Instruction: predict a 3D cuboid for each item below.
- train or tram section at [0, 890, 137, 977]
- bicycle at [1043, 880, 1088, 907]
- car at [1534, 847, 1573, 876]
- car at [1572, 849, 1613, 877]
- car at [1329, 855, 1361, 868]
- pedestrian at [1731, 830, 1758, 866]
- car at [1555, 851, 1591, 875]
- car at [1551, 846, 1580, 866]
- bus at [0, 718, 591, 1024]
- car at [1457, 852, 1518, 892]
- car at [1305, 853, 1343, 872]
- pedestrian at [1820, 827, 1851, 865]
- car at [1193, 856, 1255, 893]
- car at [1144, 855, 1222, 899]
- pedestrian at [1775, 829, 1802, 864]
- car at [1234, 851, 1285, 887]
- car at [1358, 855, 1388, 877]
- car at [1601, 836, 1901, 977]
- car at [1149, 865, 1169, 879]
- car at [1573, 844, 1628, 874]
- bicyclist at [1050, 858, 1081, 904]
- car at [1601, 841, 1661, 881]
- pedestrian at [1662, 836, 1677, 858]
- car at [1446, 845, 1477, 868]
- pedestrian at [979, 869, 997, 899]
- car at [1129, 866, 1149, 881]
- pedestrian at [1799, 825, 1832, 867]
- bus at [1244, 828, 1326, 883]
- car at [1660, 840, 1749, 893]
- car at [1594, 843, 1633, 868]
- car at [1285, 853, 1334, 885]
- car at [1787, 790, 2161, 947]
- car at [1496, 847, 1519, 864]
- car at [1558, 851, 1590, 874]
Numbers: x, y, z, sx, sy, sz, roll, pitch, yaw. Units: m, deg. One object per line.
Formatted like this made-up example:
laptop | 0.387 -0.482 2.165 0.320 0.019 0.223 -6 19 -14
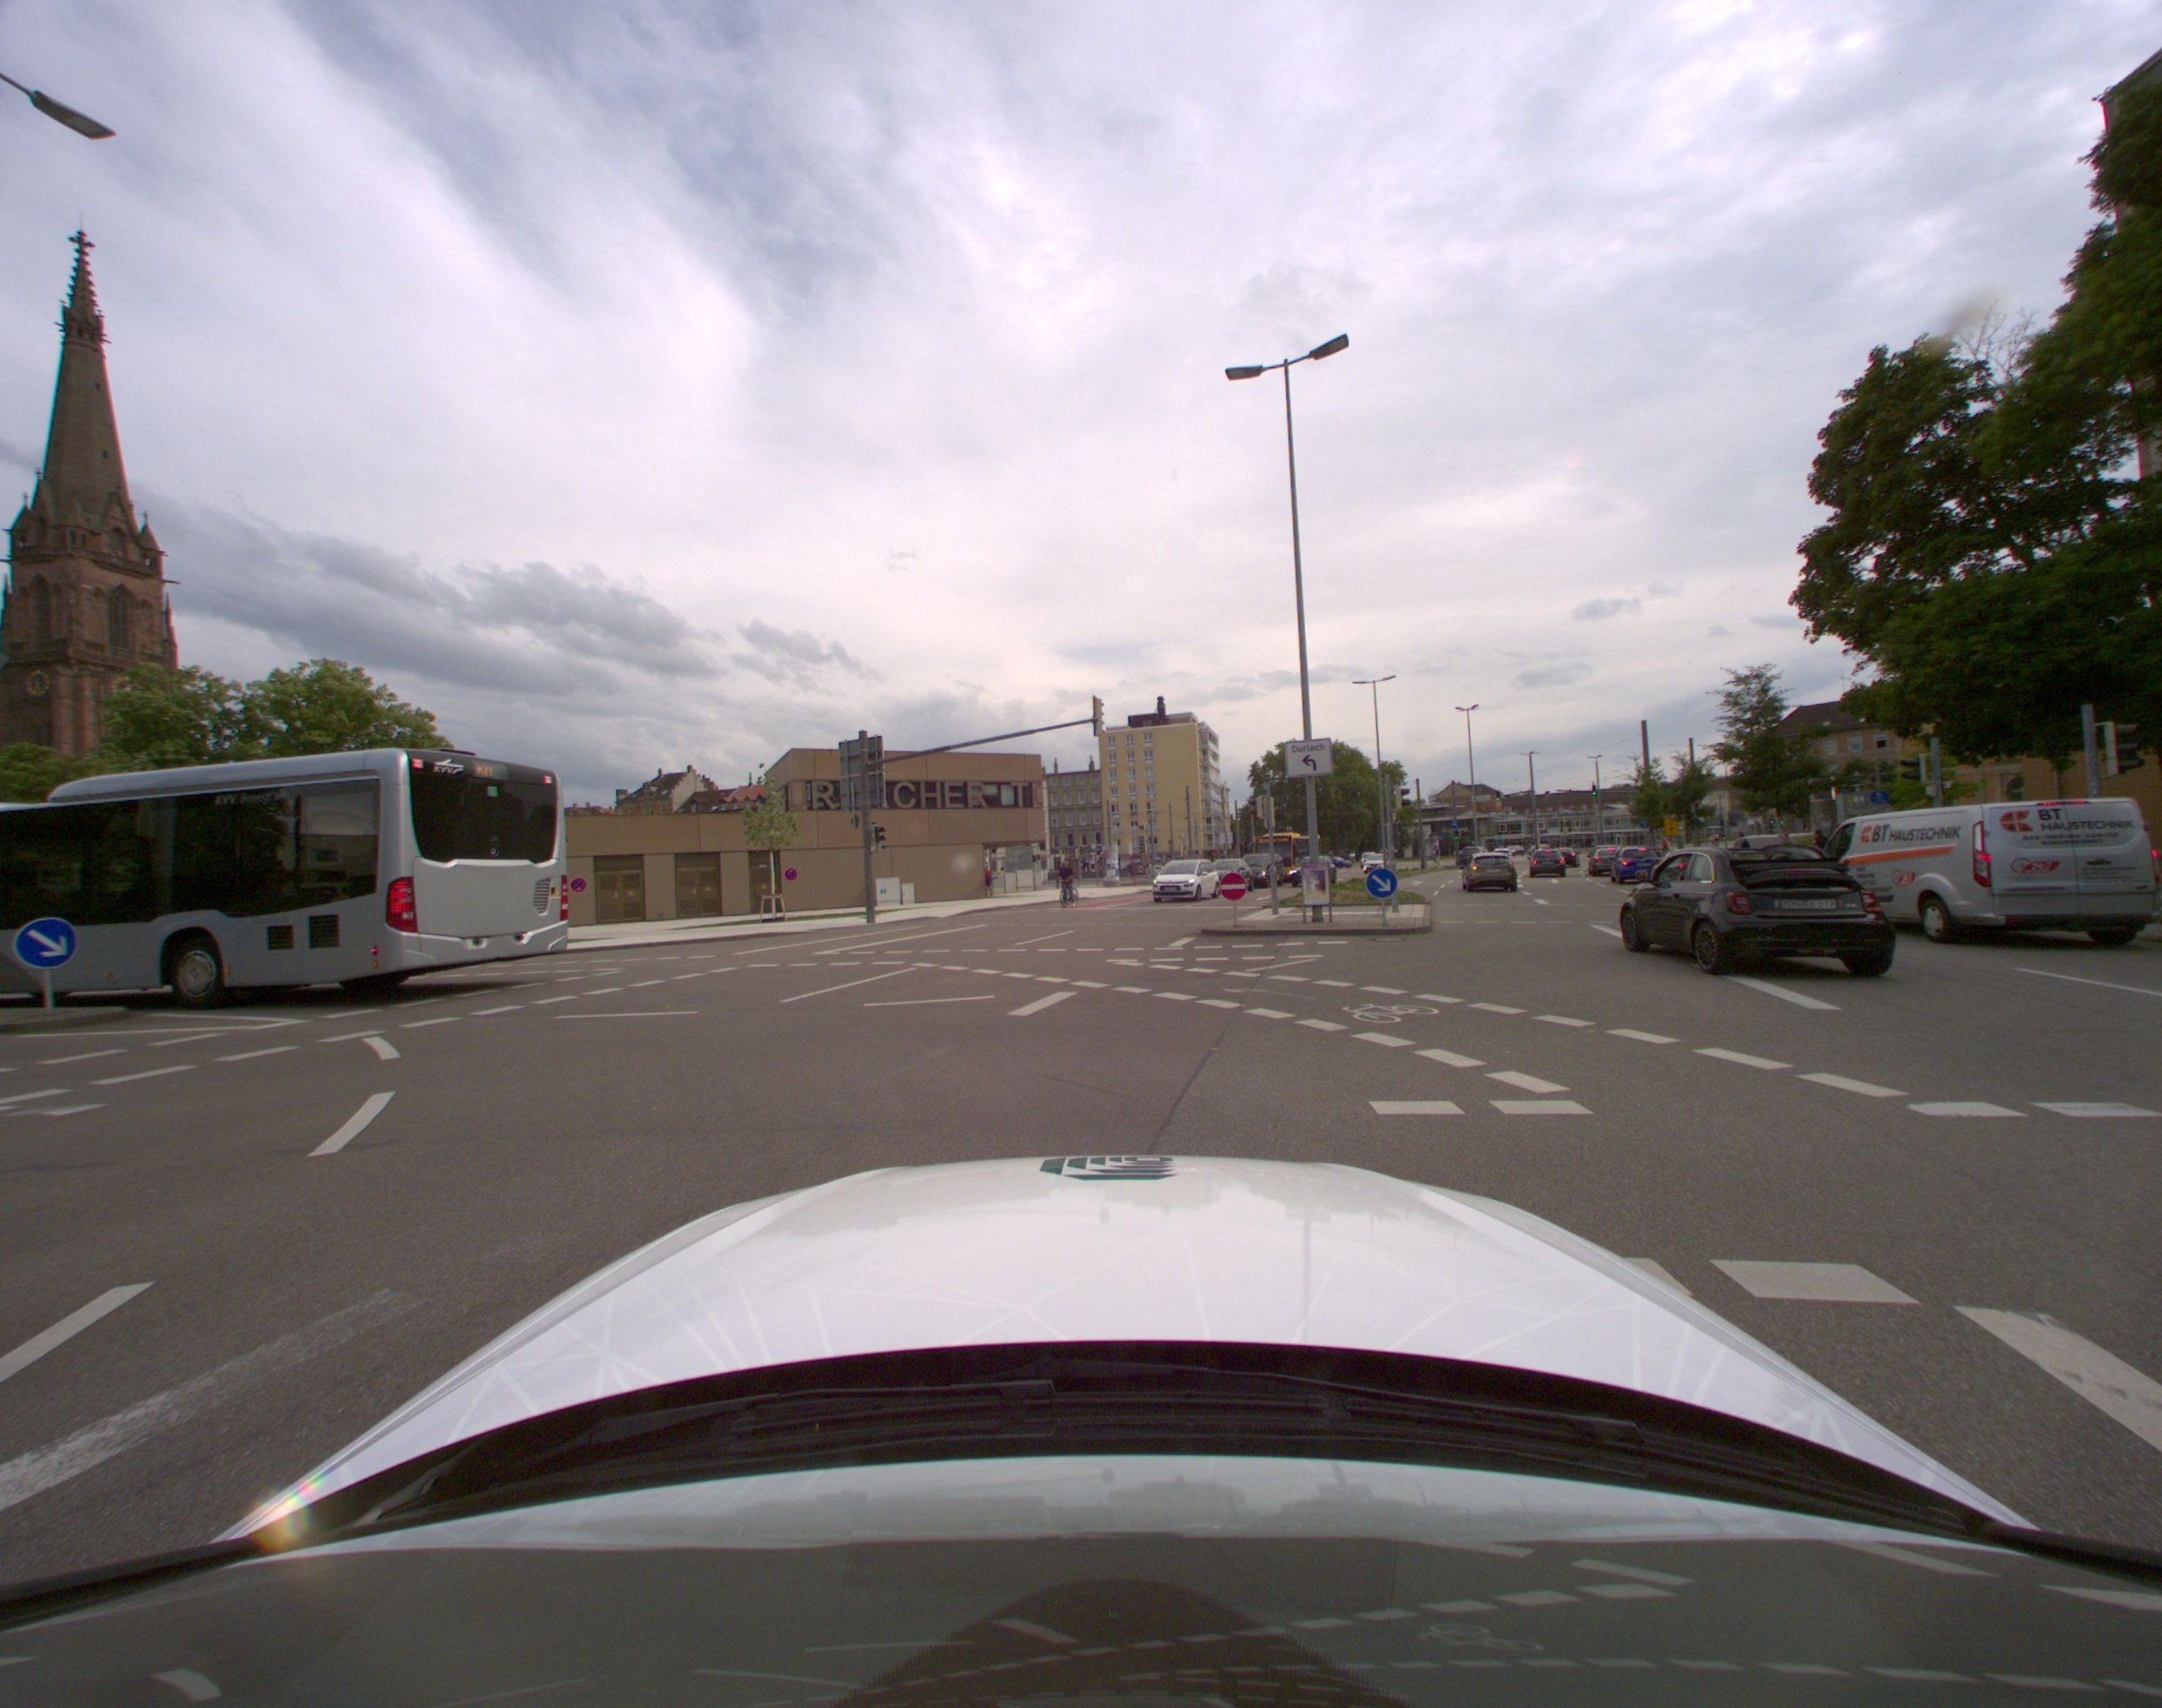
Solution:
train or tram section | -47.229 3.405 33.821 9.958 3.450 3.033 0 -1 -29
bicycle | -0.547 1.448 30.060 0.855 0.877 2.531 -1 -1 18
car | 25.268 0.403 43.619 1.694 1.420 4.025 -2 -1 30
car | 28.455 0.501 45.414 1.694 1.420 4.024 -2 -1 29
car | 30.188 0.874 93.313 3.253 1.226 1.406 -3 -1 9
pedestrian | 30.088 -0.278 36.923 0.770 1.574 0.817 -5 -2 35
car | 30.198 0.548 50.089 1.694 1.420 4.024 -2 -1 29
car | 35.096 0.151 59.064 1.694 1.420 4.024 -2 -1 29
bus | -14.679 0.620 12.436 14.043 3.438 2.722 -4 -2 12
car | 15.255 0.665 30.729 1.681 1.405 3.719 -1 -1 21
car | 26.964 0.942 90.453 2.000 2.014 3.973 -1 -1 -20
pedestrian | 32.392 -0.341 34.978 0.770 1.574 0.817 -5 -2 35
car | 6.996 0.975 39.501 1.976 1.651 4.313 -2 -1 23
car | 4.189 0.917 32.978 1.976 1.651 4.313 -2 -1 23
pedestrian | 33.572 -0.353 38.635 0.770 1.574 0.817 -5 -2 35
car | 9.993 0.828 45.377 1.976 1.899 4.313 -2 -1 23
car | 23.633 0.968 65.803 1.976 1.651 4.537 -2 -1 23
car | 8.243 0.598 10.440 1.653 1.489 3.455 -2 -1 15
car | 11.207 2.568 116.571 1.977 2.014 4.018 -1 -1 18
car | 26.600 0.249 41.788 2.112 1.420 3.723 -2 -1 29
bicyclist | -0.575 1.005 30.041 0.860 1.669 0.885 -1 -1 18
car | 22.904 0.299 33.846 1.840 1.533 4.027 -2 -1 37
pedestrian | 43.527 -0.544 60.263 0.770 1.574 0.817 -5 -2 35
car | 29.025 0.204 62.092 1.817 1.615 3.568 -2 -1 30
pedestrian | -5.586 1.806 48.932 0.813 1.733 0.774 -3 -2 -22
car | 8.374 2.786 117.137 1.977 2.014 4.018 -1 -1 18
pedestrian | 28.877 -0.311 32.034 0.770 1.574 0.817 -5 -2 35
bus | 14.046 0.162 55.150 3.119 3.255 12.483 -2 -1 24
car | 19.031 0.383 25.011 1.650 1.508 3.656 -2 -1 30
car | 32.708 0.103 50.083 1.687 1.420 3.723 -2 -1 29
car | 12.747 0.816 45.293 1.976 1.651 4.537 -2 -1 23
car | 13.545 0.224 12.881 1.804 1.960 5.230 -1 -1 20
car | 38.960 0.147 74.340 1.694 1.420 4.024 -2 -1 29
car | 33.161 0.573 54.842 1.694 1.420 3.368 -2 -1 29
